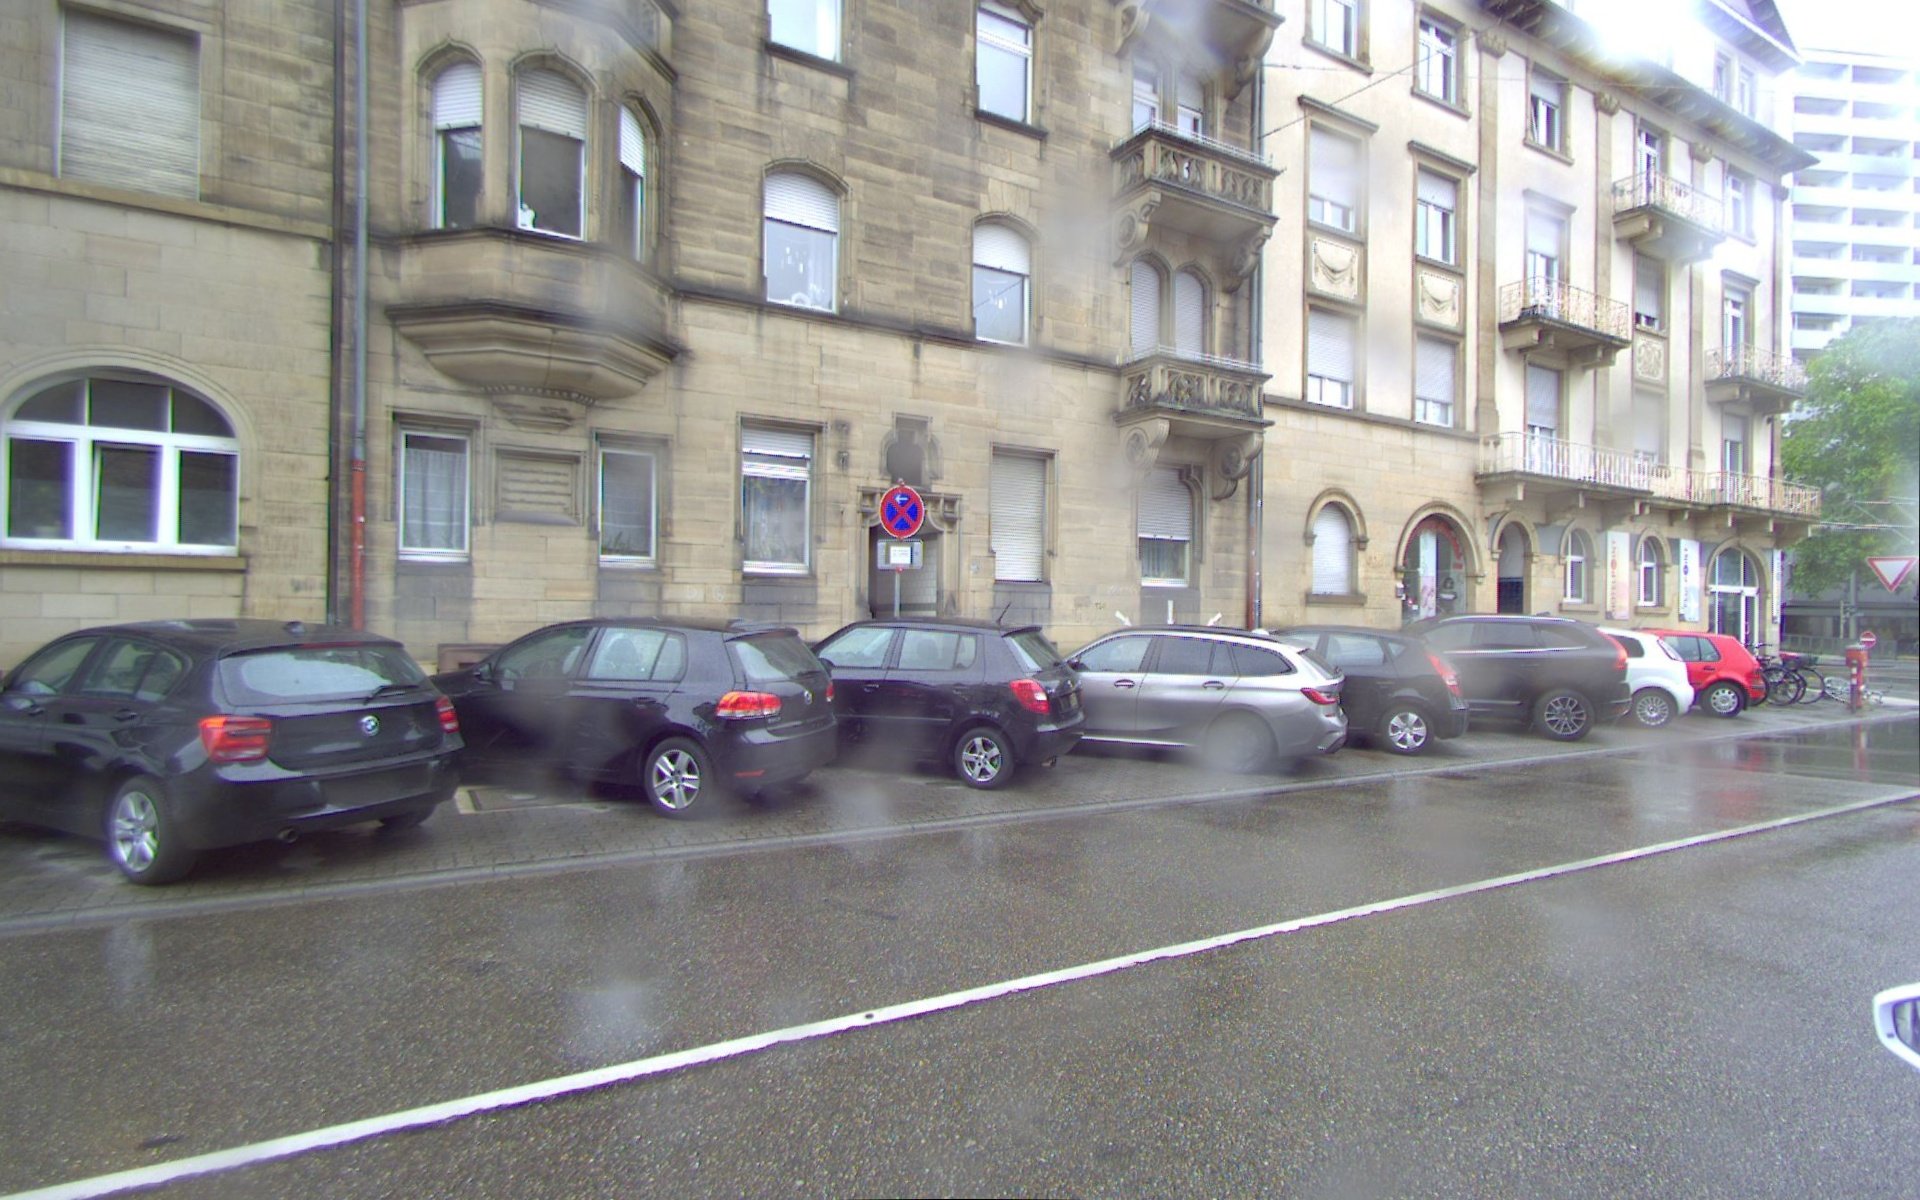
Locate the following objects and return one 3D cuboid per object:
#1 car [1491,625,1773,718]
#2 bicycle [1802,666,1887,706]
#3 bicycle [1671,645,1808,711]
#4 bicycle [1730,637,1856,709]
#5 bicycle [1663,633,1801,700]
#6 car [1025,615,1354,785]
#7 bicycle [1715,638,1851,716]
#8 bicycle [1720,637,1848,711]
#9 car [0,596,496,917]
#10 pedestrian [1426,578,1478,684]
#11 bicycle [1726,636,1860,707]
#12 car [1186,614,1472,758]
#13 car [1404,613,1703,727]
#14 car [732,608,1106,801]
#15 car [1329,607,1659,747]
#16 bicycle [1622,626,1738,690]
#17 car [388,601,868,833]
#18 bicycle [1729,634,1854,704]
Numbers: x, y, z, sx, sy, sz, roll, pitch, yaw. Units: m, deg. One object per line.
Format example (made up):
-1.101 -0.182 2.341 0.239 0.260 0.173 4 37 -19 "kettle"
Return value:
11.897 1.219 18.115 3.923 1.528 1.803 -1 -2 23 "car"
18.518 1.788 21.073 1.024 0.672 1.476 3 0 29 "bicycle"
17.329 1.702 22.392 0.634 1.364 2.326 1 -2 -34 "bicycle"
16.299 1.404 19.698 0.463 1.200 1.800 1 2 -31 "bicycle"
16.824 1.424 21.963 0.634 1.364 2.326 1 -1 -34 "bicycle"
2.611 1.013 11.350 3.362 1.565 1.701 2 1 21 "car"
15.147 1.386 18.547 0.592 1.201 1.805 1 3 -24 "bicycle"
15.872 1.398 19.407 0.469 1.200 1.800 1 3 -31 "bicycle"
-5.151 0.799 6.731 3.657 1.565 1.777 2 1 25 "car"
11.268 0.704 23.024 0.750 2.371 0.847 1 -1 -8 "pedestrian"
16.626 1.400 20.098 0.470 1.200 1.968 1 2 -32 "bicycle"
4.738 1.023 13.070 3.246 1.546 1.700 2 1 22 "car"
9.440 1.056 16.362 3.916 1.554 1.704 2 1 21 "car"
-0.411 0.919 10.133 3.378 1.565 1.627 2 1 24 "car"
7.576 1.021 14.719 4.005 1.715 1.764 2 1 21 "car"
16.086 1.265 22.483 0.579 1.364 2.044 1 -1 -34 "bicycle"
-2.824 0.845 8.628 3.685 1.565 1.628 2 1 20 "car"
17.017 1.388 20.622 0.432 1.347 1.969 1 -1 -27 "bicycle"
